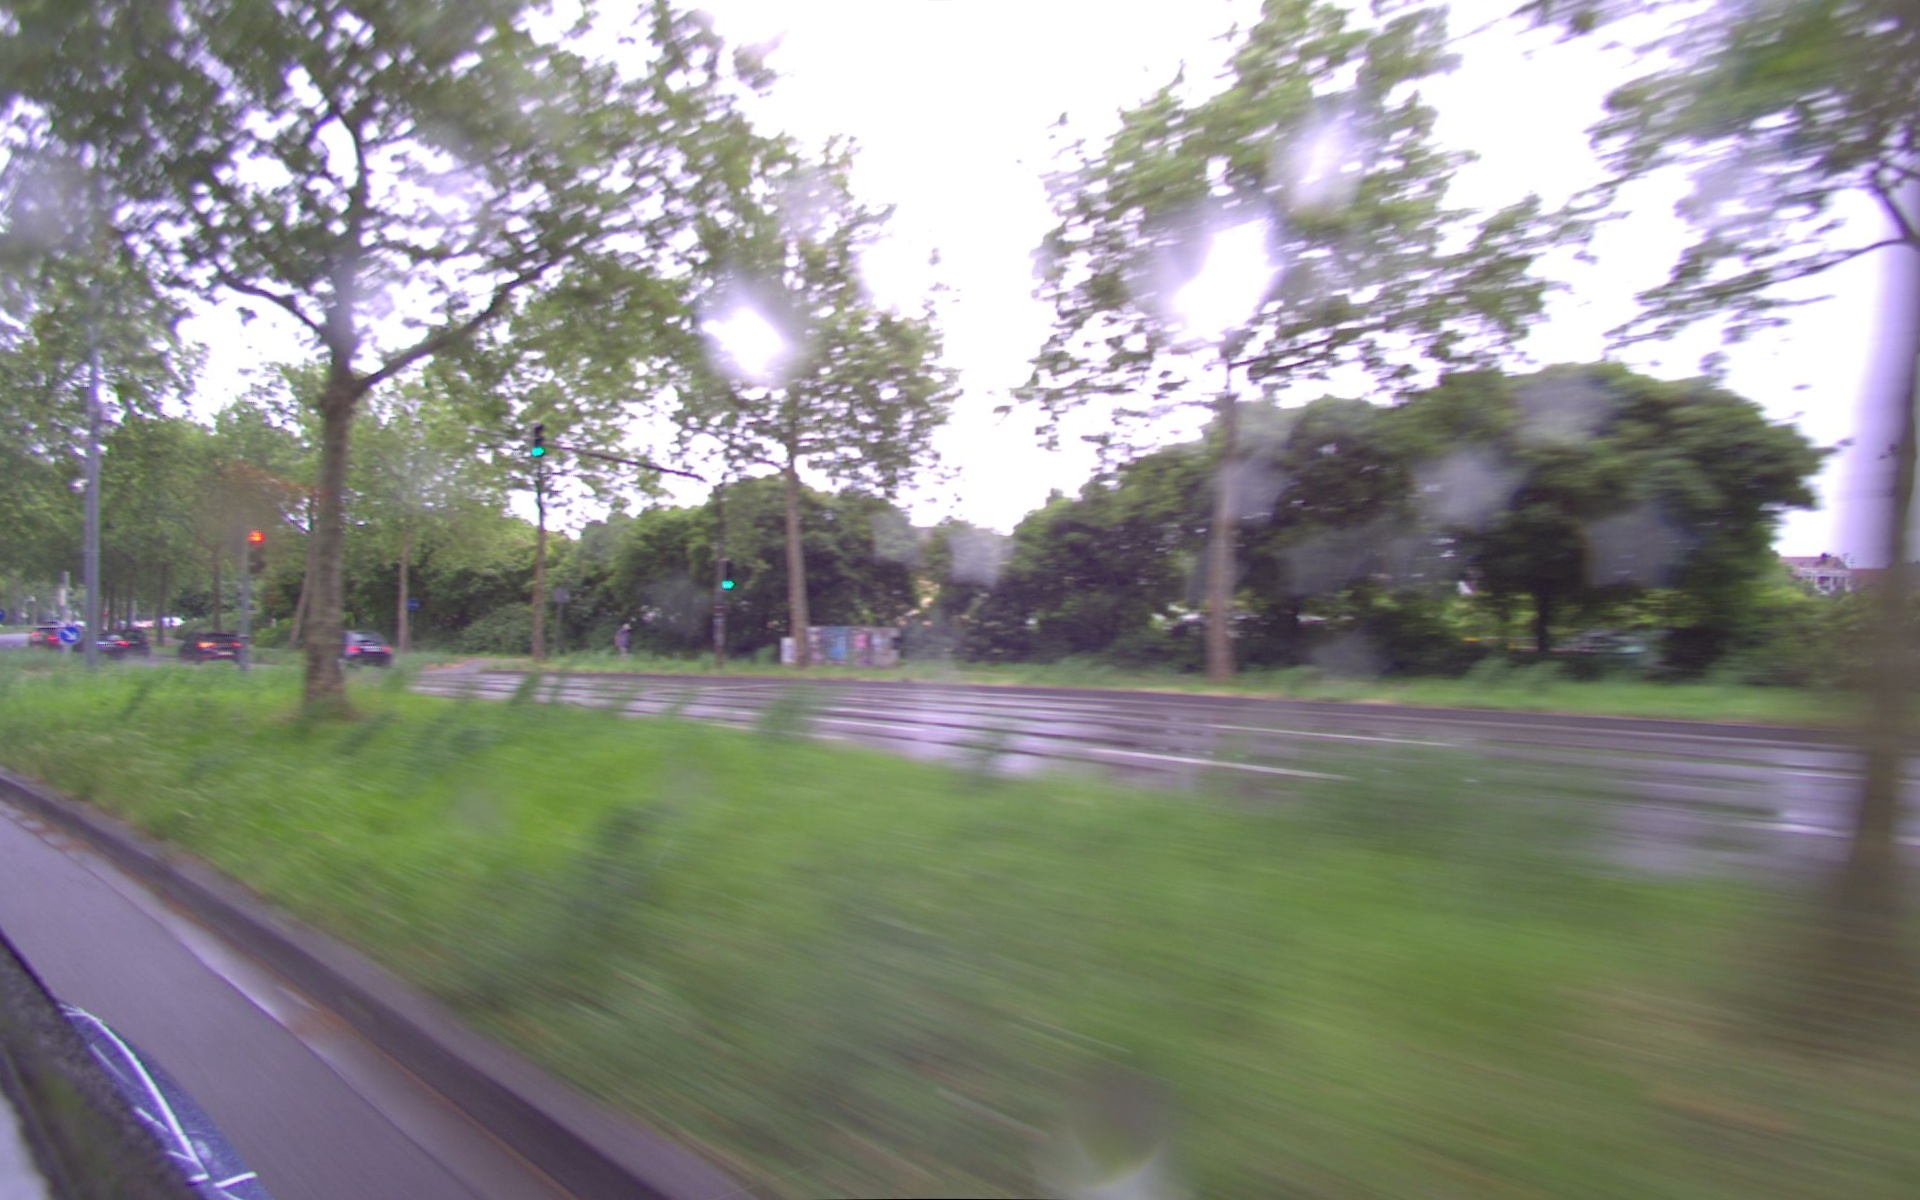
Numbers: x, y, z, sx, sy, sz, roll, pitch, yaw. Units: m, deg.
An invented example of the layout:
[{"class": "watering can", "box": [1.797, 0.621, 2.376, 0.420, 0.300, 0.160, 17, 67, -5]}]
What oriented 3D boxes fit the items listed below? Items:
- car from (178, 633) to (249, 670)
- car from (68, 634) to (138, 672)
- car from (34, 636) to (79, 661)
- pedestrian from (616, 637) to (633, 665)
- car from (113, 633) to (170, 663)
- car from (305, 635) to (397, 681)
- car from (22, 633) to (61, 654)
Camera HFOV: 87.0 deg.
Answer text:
[{"class": "car", "box": [-33.592, 2.293, 45.521, 3.998, 1.567, 1.761, -1, -2, 41]}, {"class": "car", "box": [-37.858, 2.309, 44.676, 3.998, 1.567, 1.761, -1, -2, 41]}, {"class": "car", "box": [-60.370, 3.190, 67.632, 3.998, 1.567, 1.761, -1, -2, 41]}, {"class": "pedestrian", "box": [-12.861, 1.965, 38.804, 0.442, 1.048, 0.469, -2, -2, 44]}, {"class": "car", "box": [-45.022, 2.622, 55.635, 3.998, 1.567, 1.761, -1, -2, 41]}, {"class": "car", "box": [-22.425, 2.089, 37.226, 3.998, 1.567, 1.761, -1, -2, 41]}, {"class": "car", "box": [-70.393, 3.323, 77.567, 3.998, 1.567, 1.761, -1, -2, 41]}]
